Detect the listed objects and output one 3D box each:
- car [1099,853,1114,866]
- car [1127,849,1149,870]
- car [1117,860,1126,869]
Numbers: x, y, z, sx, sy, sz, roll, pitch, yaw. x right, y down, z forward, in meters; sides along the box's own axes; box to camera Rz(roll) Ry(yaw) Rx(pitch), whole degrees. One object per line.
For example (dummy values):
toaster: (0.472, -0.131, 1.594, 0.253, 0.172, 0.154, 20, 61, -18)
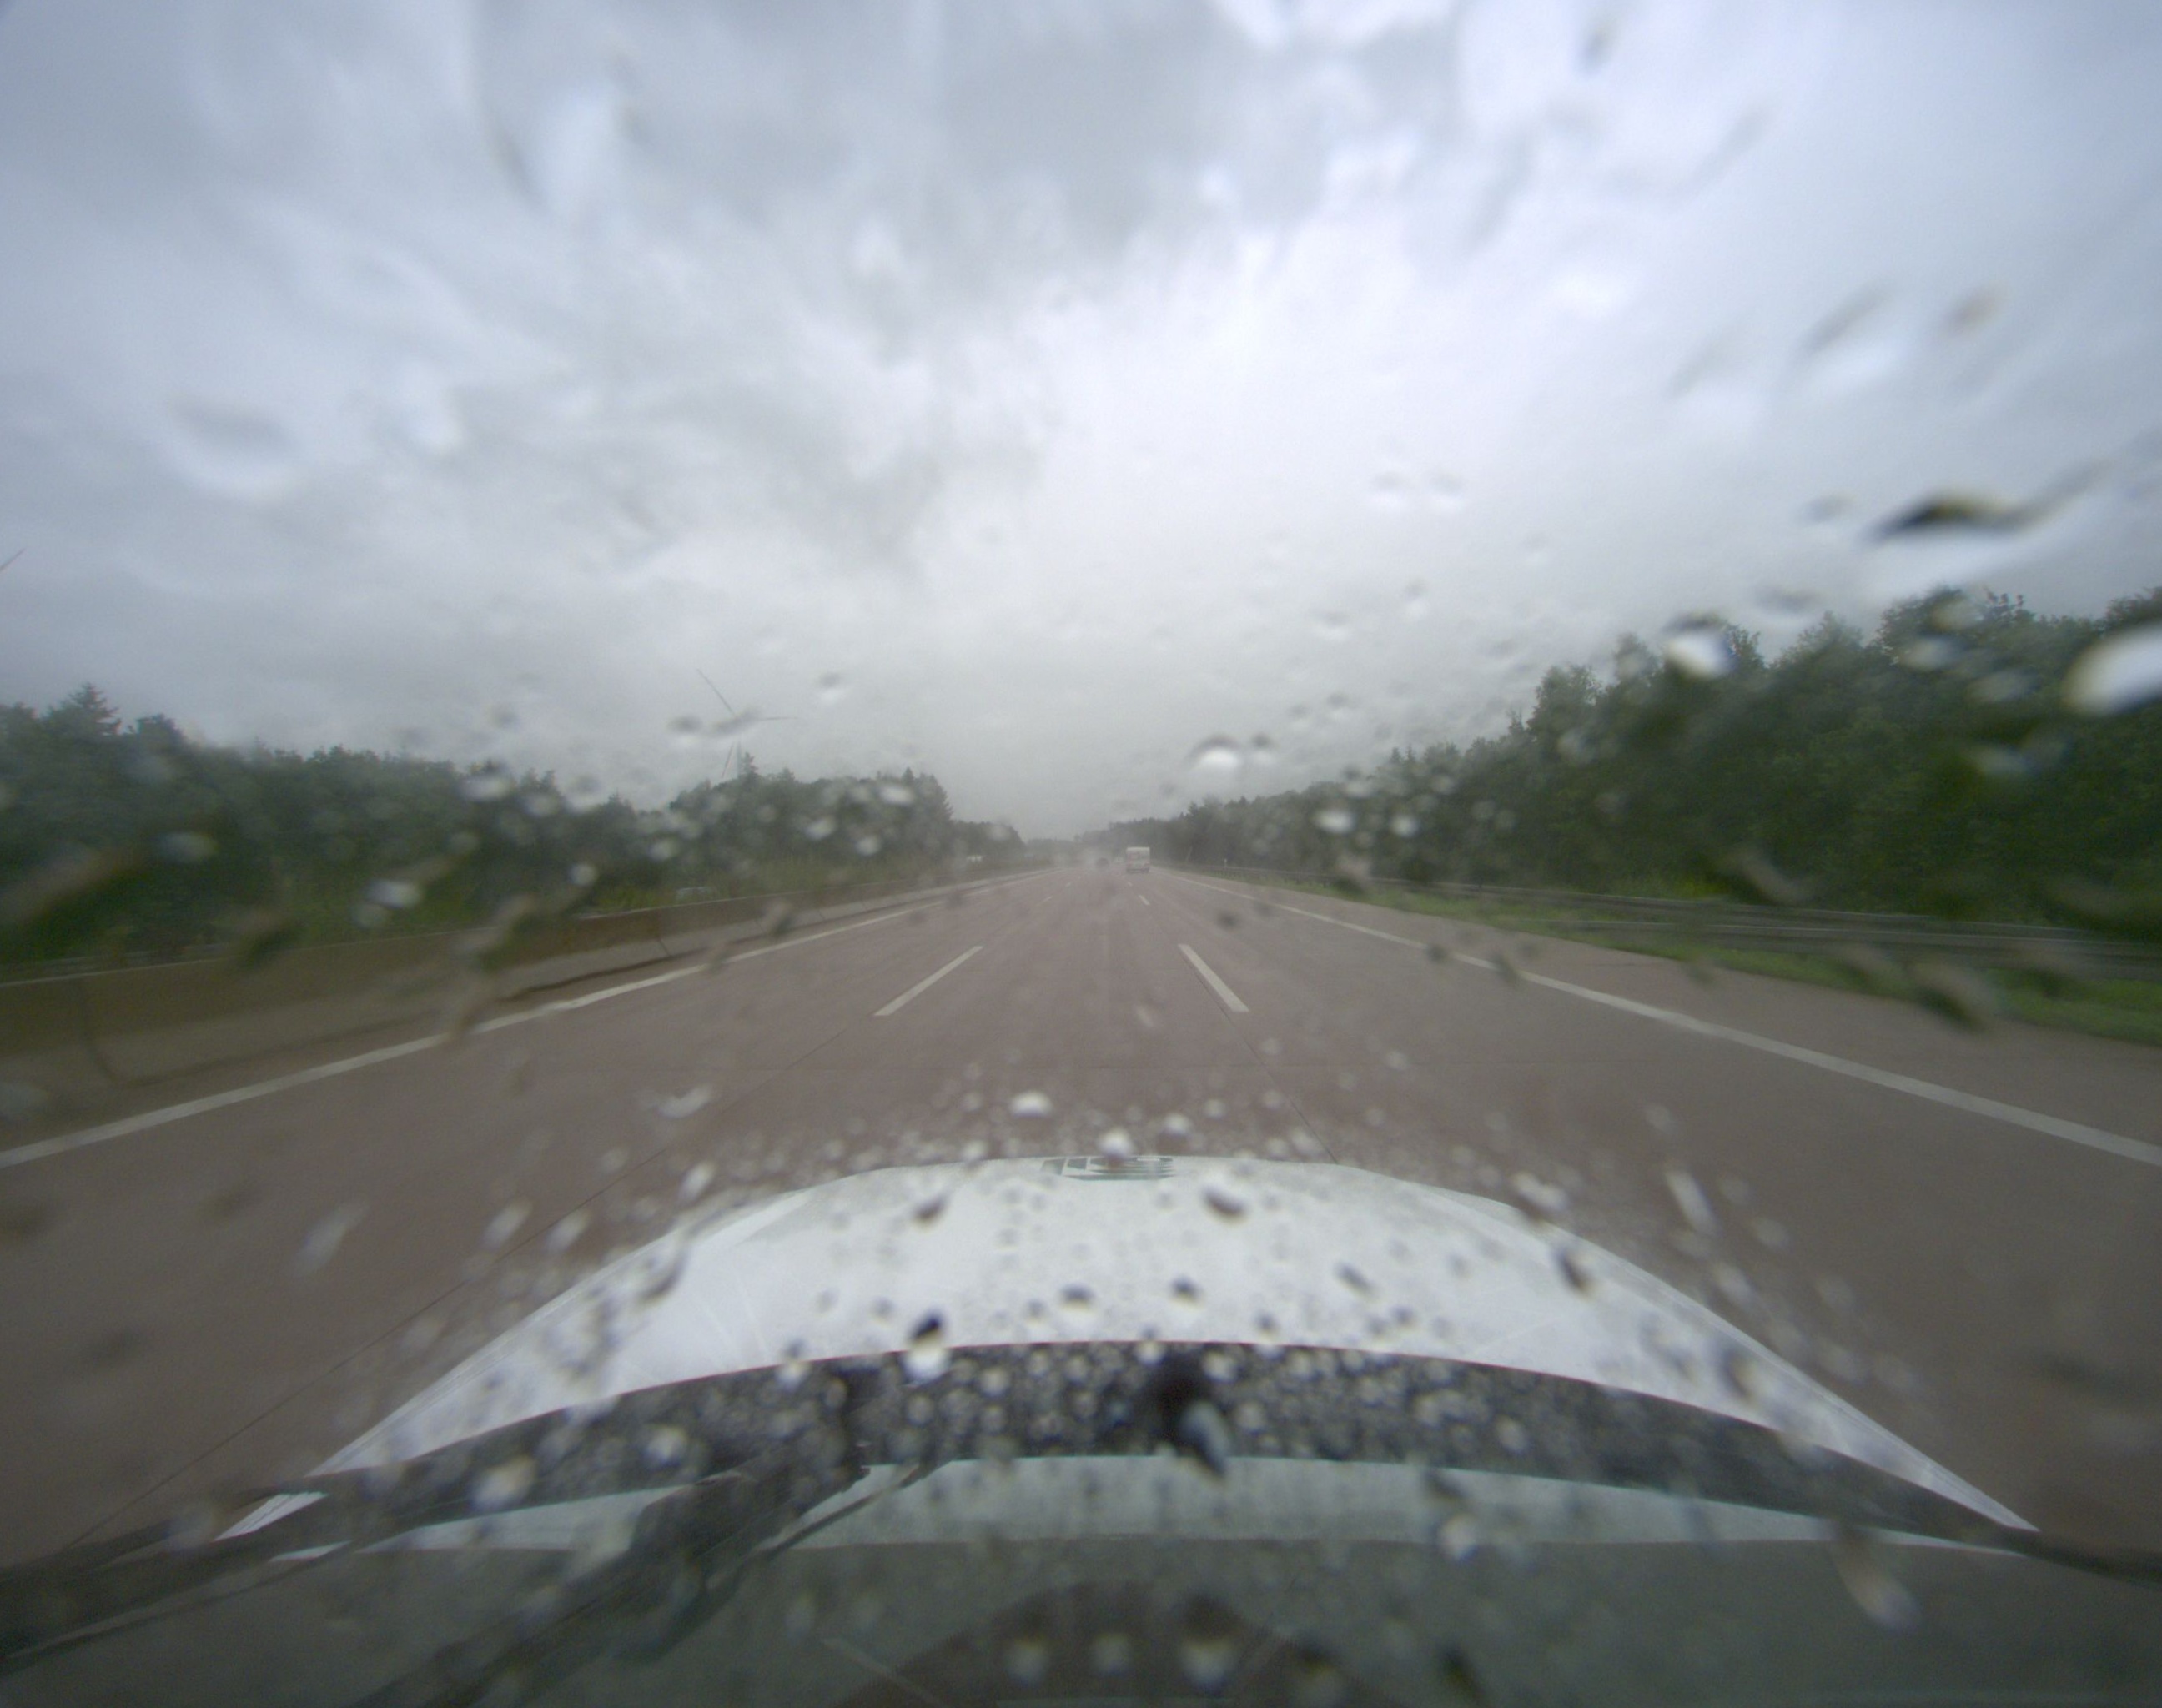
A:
car: (3.622, 0.770, 114.081, 1.929, 1.729, 4.133, -1, 0, 3)
car: (5.652, 0.506, 81.315, 2.049, 2.000, 4.102, -1, 0, 3)
car: (8.551, 2.188, 171.726, 1.929, 1.981, 4.133, -1, 0, 3)
